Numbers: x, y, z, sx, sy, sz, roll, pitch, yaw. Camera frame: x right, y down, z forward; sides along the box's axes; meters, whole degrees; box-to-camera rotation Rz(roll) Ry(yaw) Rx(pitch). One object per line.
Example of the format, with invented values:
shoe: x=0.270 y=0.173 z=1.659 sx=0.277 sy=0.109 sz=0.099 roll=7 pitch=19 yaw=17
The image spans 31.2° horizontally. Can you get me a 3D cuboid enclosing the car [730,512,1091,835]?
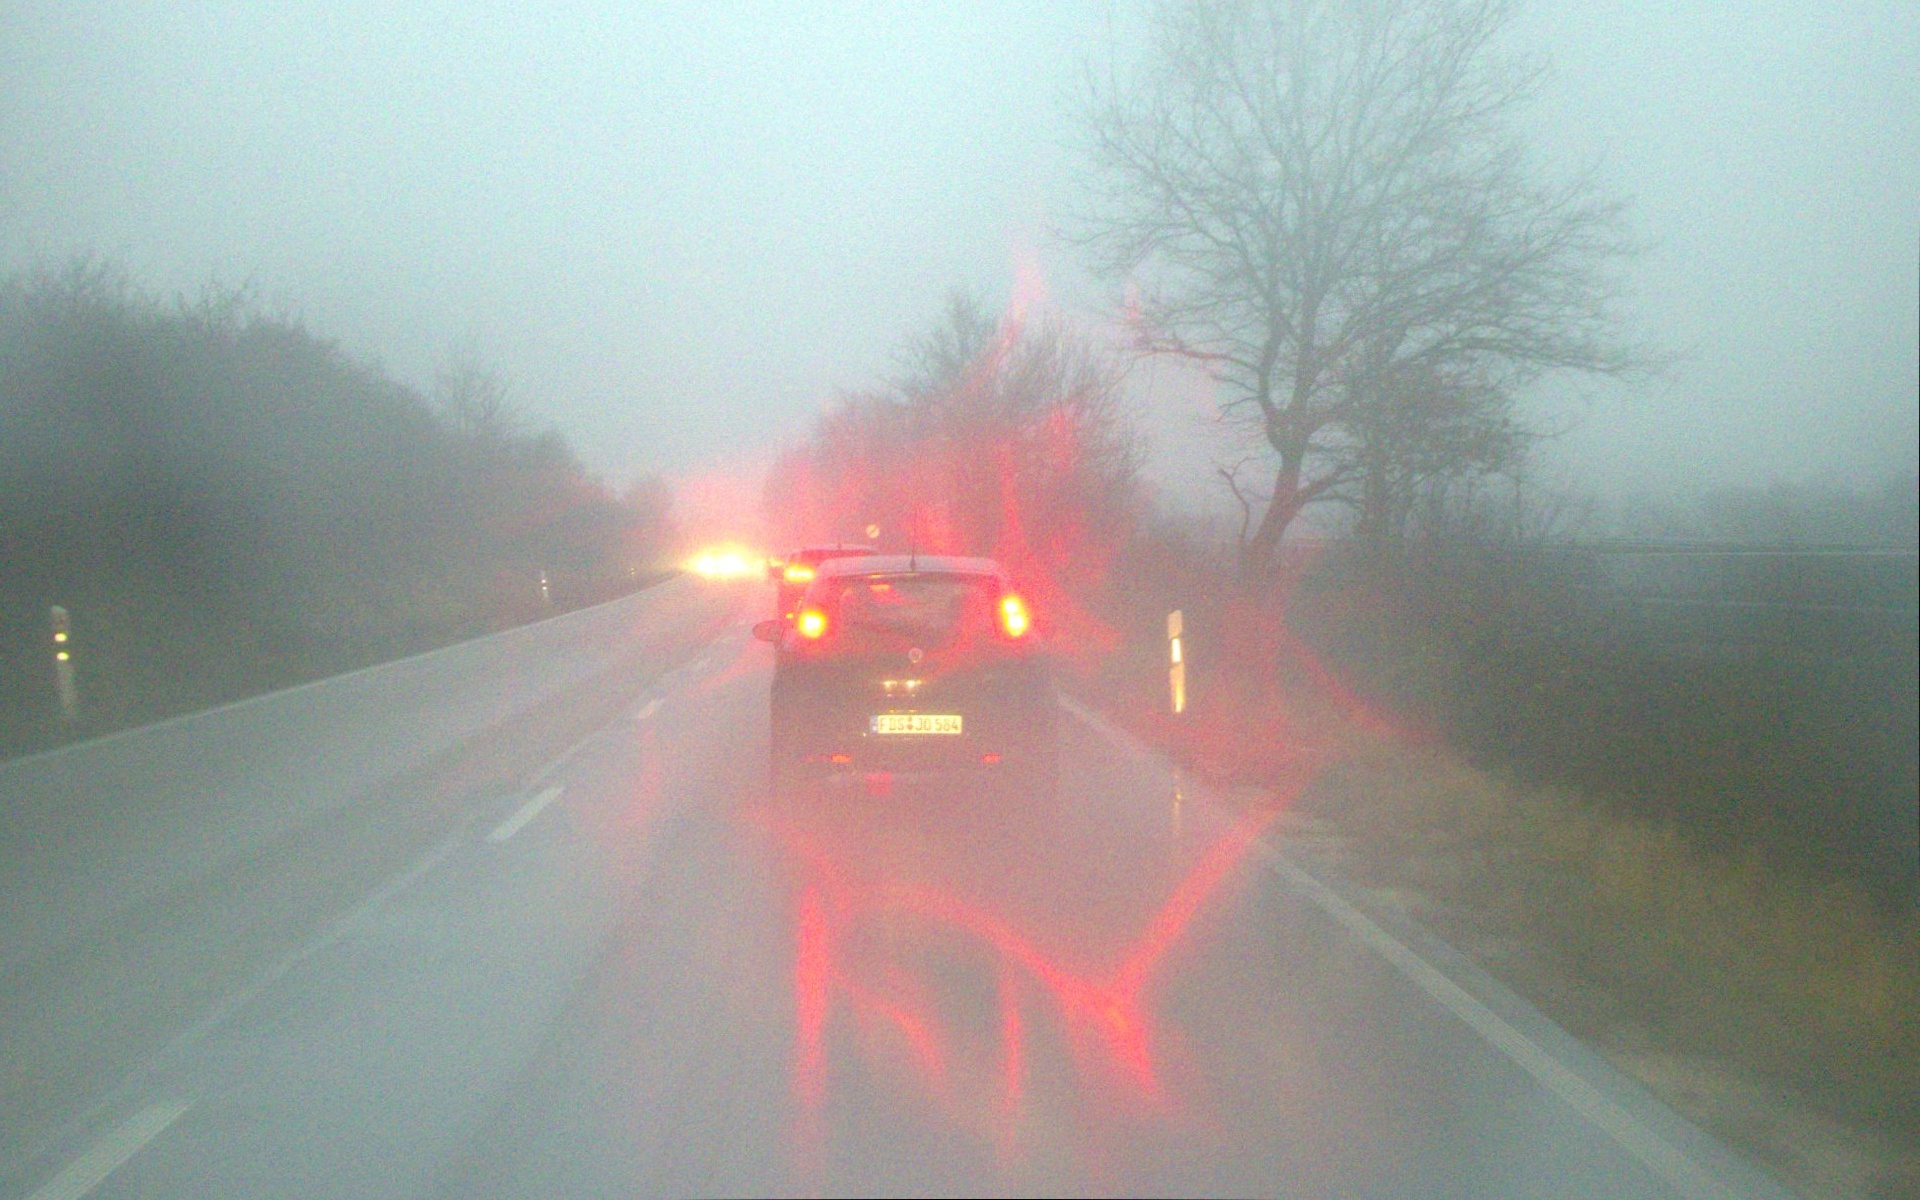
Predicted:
car: x=-0.358 y=0.390 z=21.210 sx=1.993 sy=1.778 sz=4.000 roll=1 pitch=1 yaw=-2

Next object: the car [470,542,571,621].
car: x=-10.236 y=-0.438 z=80.297 sx=1.993 sy=1.778 sz=4.000 roll=1 pitch=1 yaw=-2

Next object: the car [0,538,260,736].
car: x=-7.386 y=0.290 z=30.275 sx=1.776 sy=1.603 sz=3.774 roll=-1 pitch=1 yaw=-2

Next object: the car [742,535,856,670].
car: x=-2.339 y=0.015 z=50.149 sx=1.574 sy=1.868 sz=3.709 roll=1 pitch=1 yaw=-2
